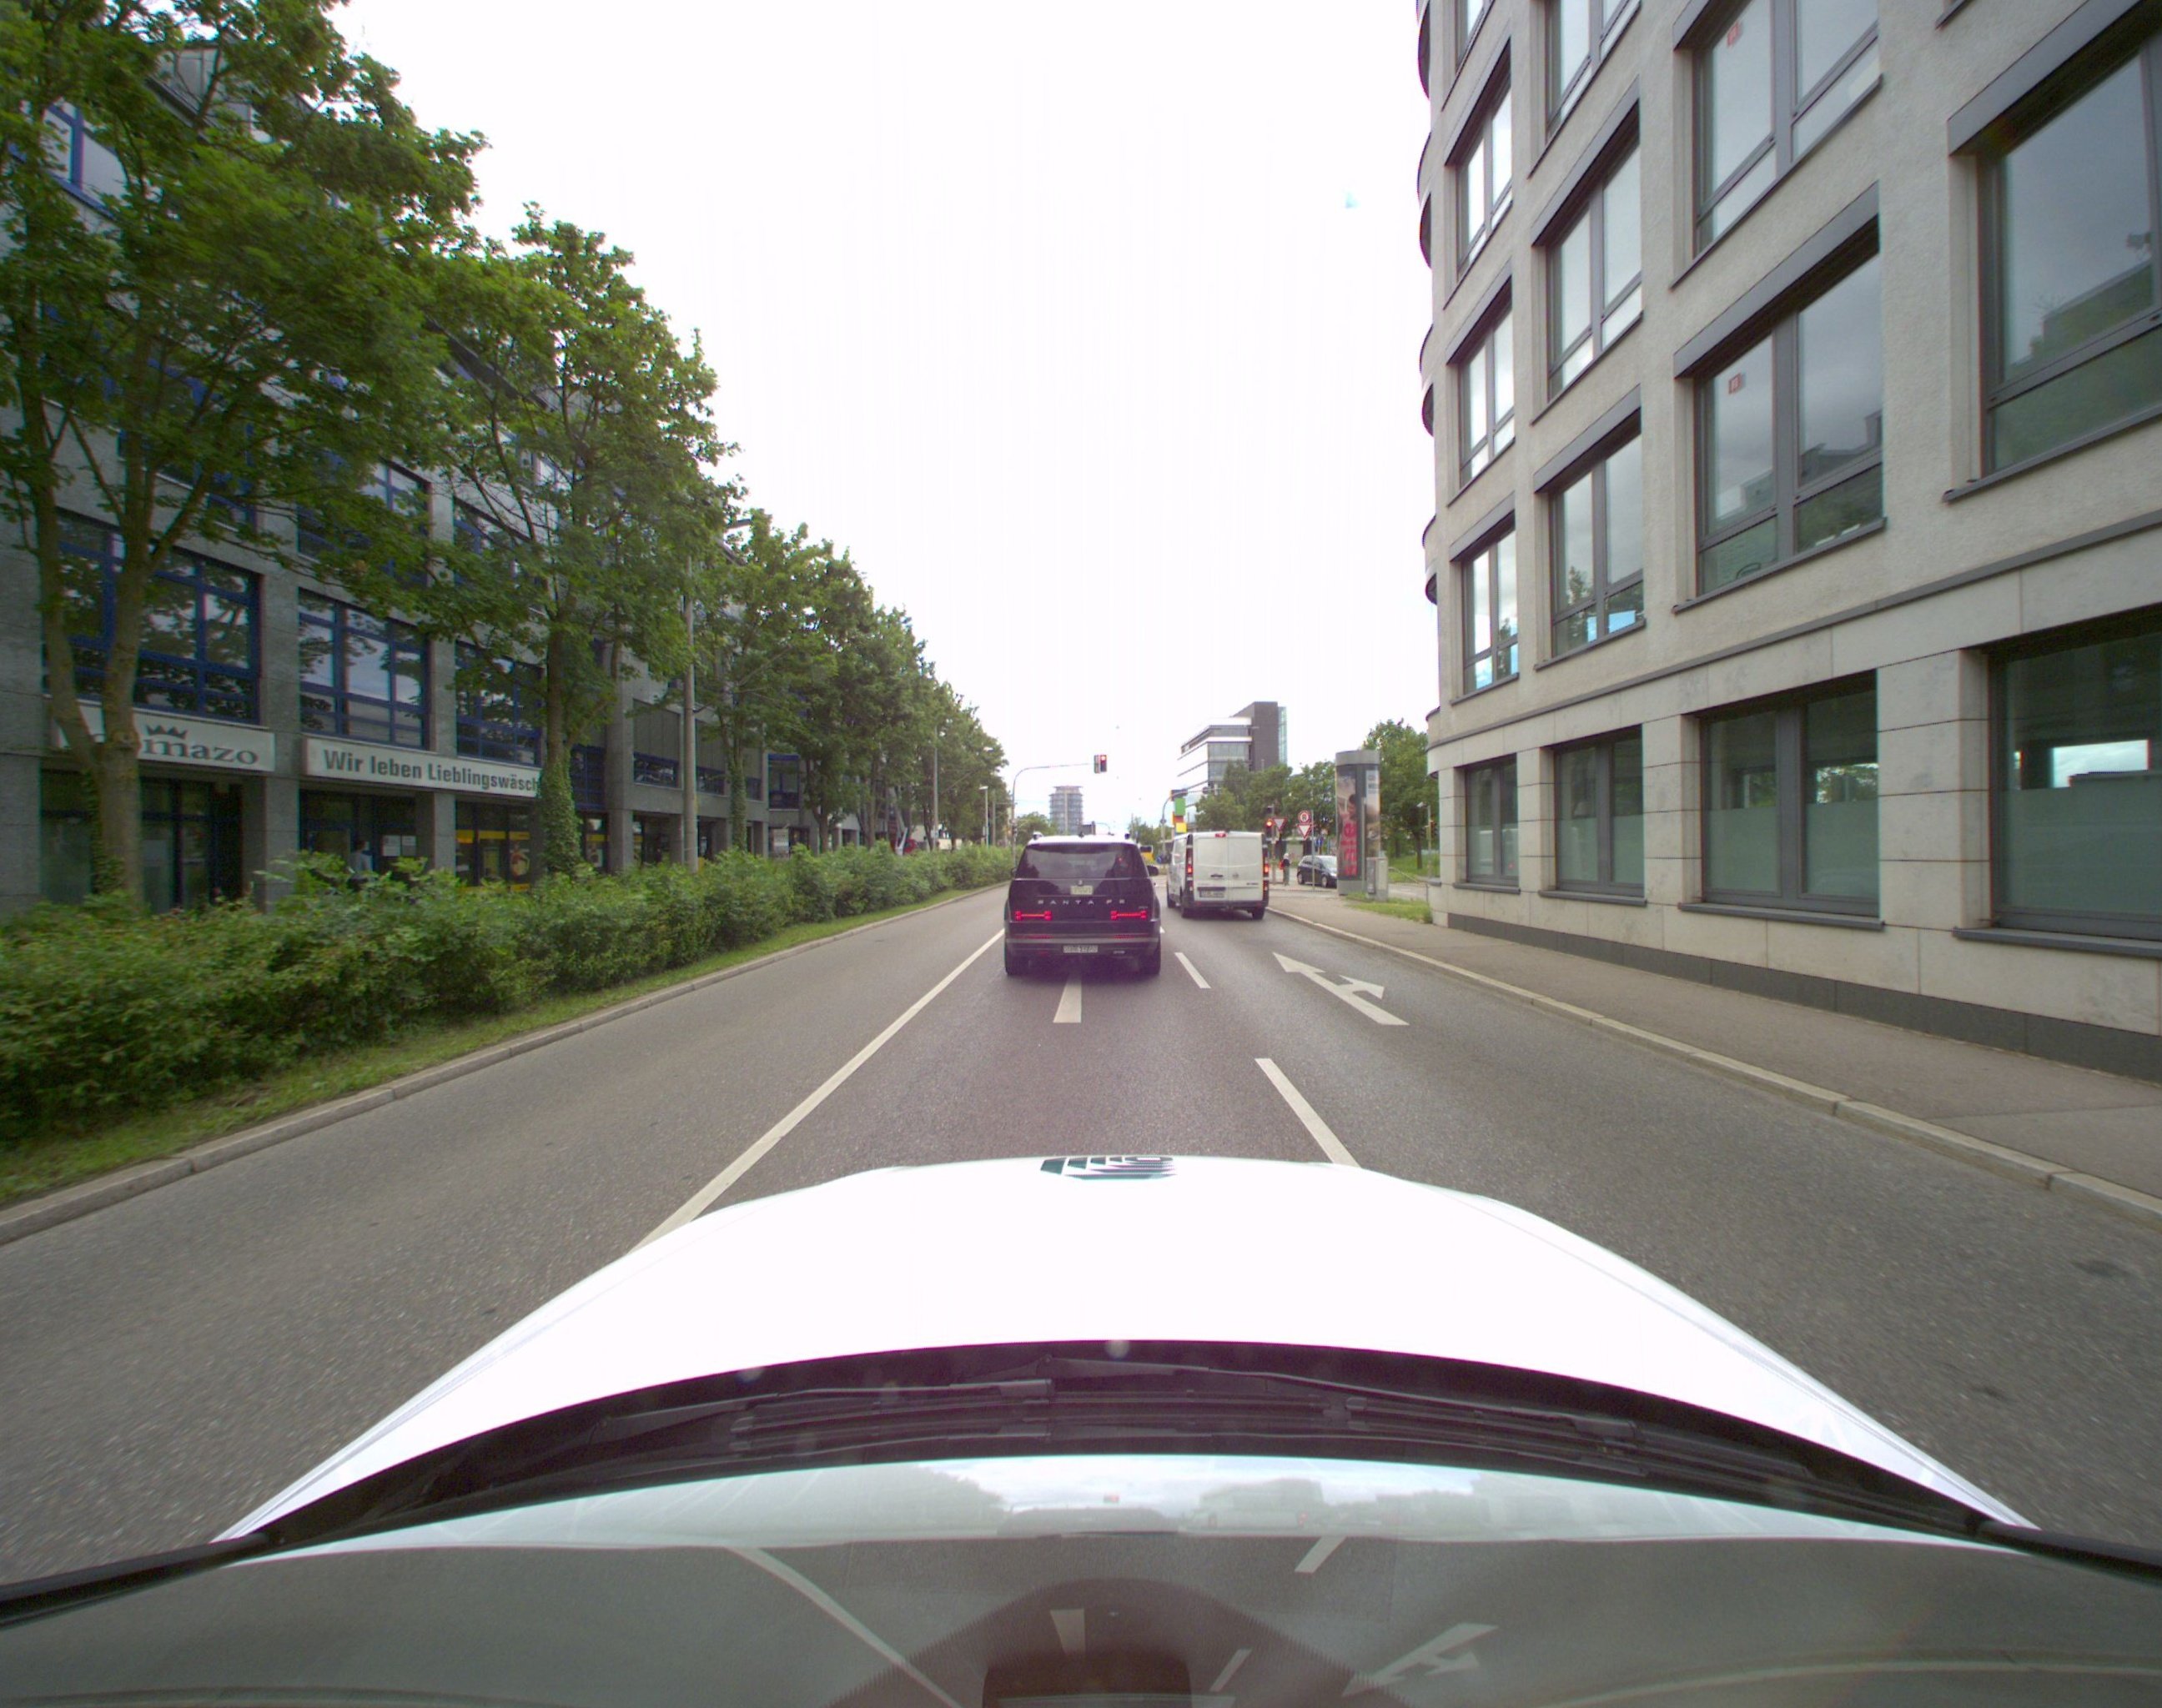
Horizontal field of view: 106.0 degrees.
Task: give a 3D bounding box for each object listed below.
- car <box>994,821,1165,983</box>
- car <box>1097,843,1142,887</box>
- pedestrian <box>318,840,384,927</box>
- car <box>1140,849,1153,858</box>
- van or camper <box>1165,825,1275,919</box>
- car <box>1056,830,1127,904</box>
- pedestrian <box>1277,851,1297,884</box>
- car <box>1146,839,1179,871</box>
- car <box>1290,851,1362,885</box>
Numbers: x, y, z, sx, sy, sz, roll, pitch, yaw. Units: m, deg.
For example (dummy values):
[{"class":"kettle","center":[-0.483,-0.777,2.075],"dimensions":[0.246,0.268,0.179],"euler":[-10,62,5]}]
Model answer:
[{"class":"car","center":[0.030,0.528,10.923],"dimensions":[1.862,1.760,3.880],"euler":[-1,0,1]},{"class":"car","center":[1.612,0.458,33.767],"dimensions":[1.768,1.717,4.341],"euler":[0,-1,3]},{"class":"pedestrian","center":[-16.225,0.643,18.124],"dimensions":[0.772,1.894,0.731],"euler":[0,-1,1]},{"class":"car","center":[11.633,-0.077,145.465],"dimensions":[1.988,1.684,3.998],"euler":[0,-1,-1]},{"class":"van or camper","center":[3.214,0.379,19.783],"dimensions":[1.986,2.013,4.653],"euler":[0,0,1]},{"class":"car","center":[0.330,0.357,24.160],"dimensions":[1.908,2.003,3.880],"euler":[-1,0,1]},{"class":"pedestrian","center":[10.125,0.658,40.072],"dimensions":[0.744,1.584,0.567],"euler":[1,0,-39]},{"class":"car","center":[5.374,0.093,54.031],"dimensions":[1.986,2.014,4.002],"euler":[0,-1,2]},{"class":"car","center":[12.400,0.701,41.486],"dimensions":[1.703,1.684,3.767],"euler":[0,-1,-18]}]
